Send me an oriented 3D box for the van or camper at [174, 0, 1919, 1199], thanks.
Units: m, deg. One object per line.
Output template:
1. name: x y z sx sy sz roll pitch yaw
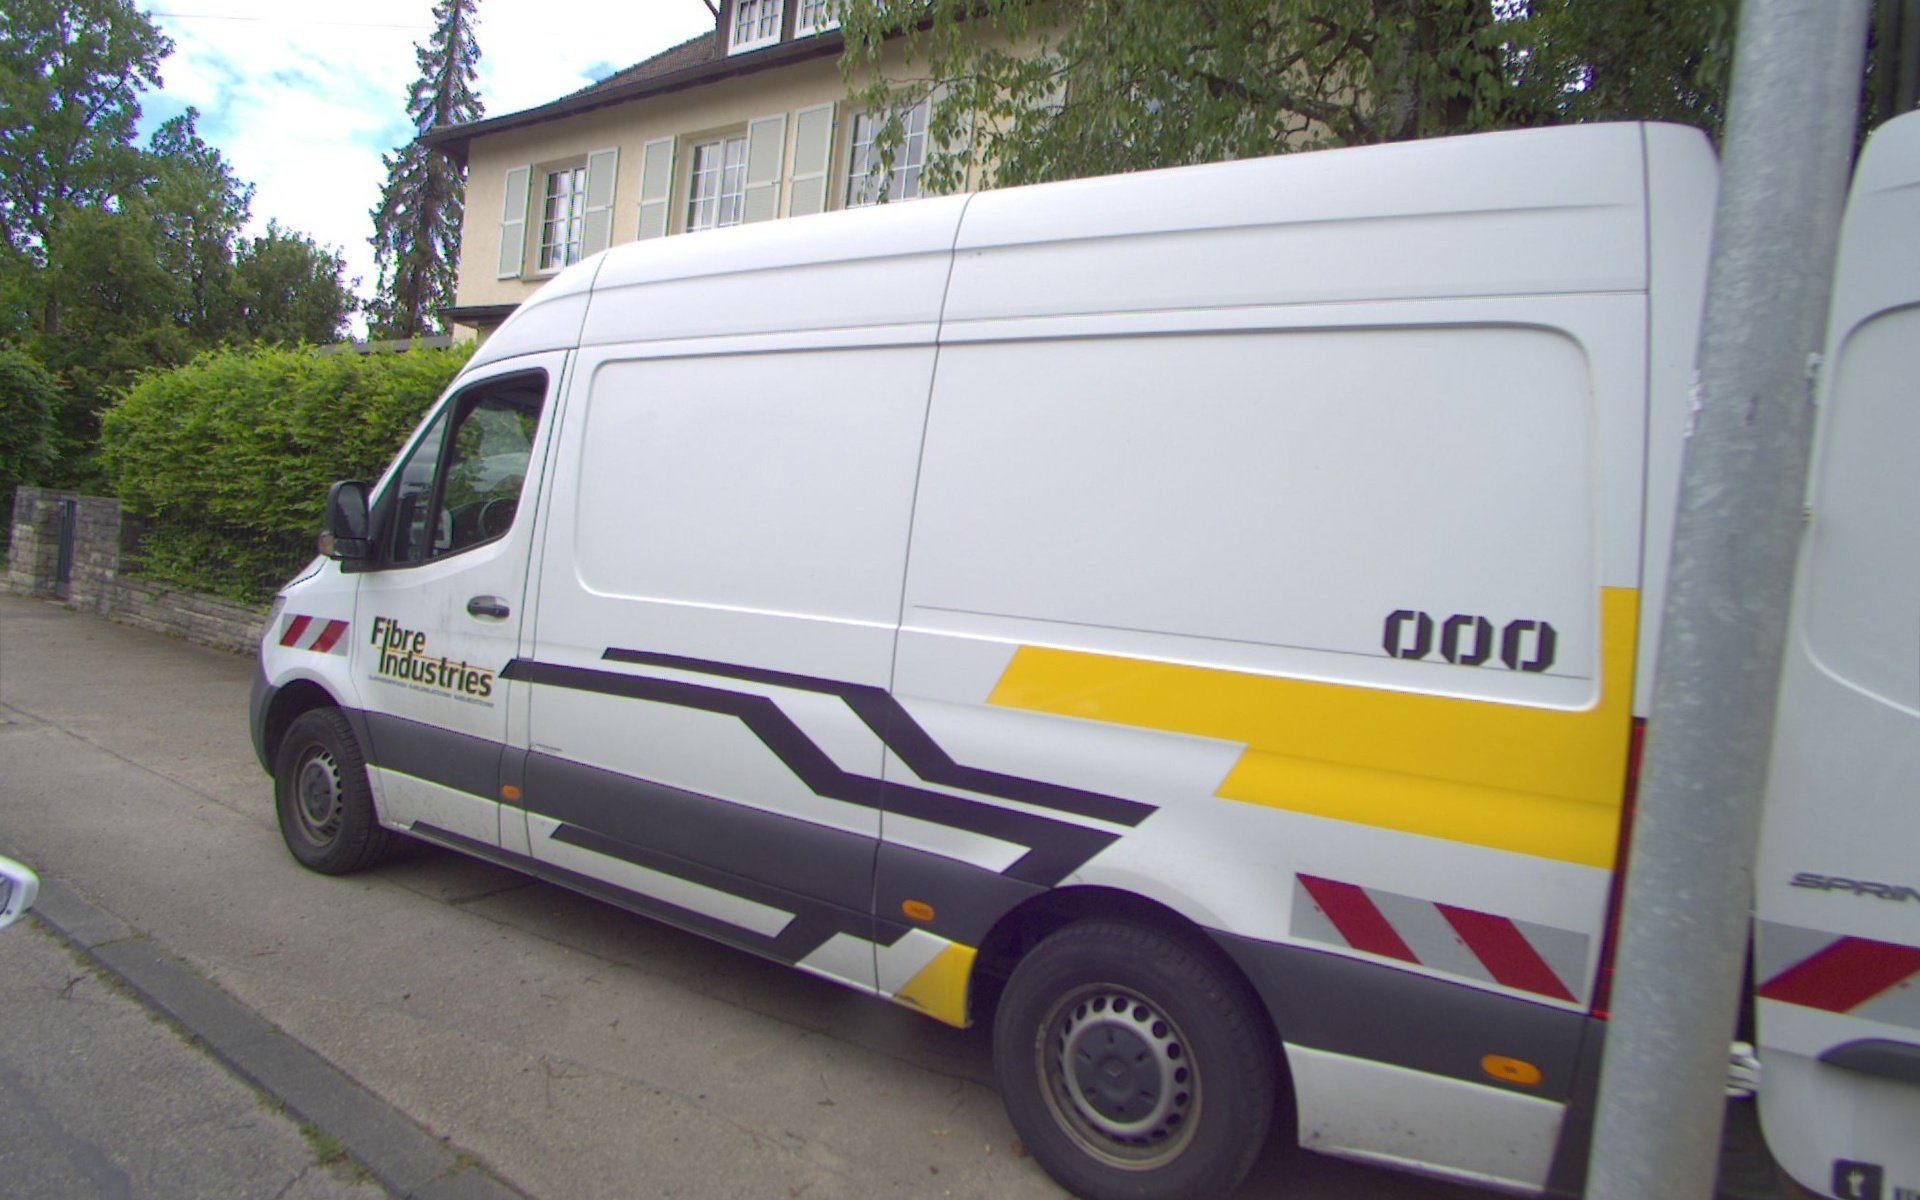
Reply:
1. van or camper: -0.023 0.155 3.807 6.491 2.529 2.341 5 3 30

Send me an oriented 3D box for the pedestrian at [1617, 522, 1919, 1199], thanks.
1. pedestrian: 2.166 0.738 2.230 0.742 1.743 0.788 4 2 -22
